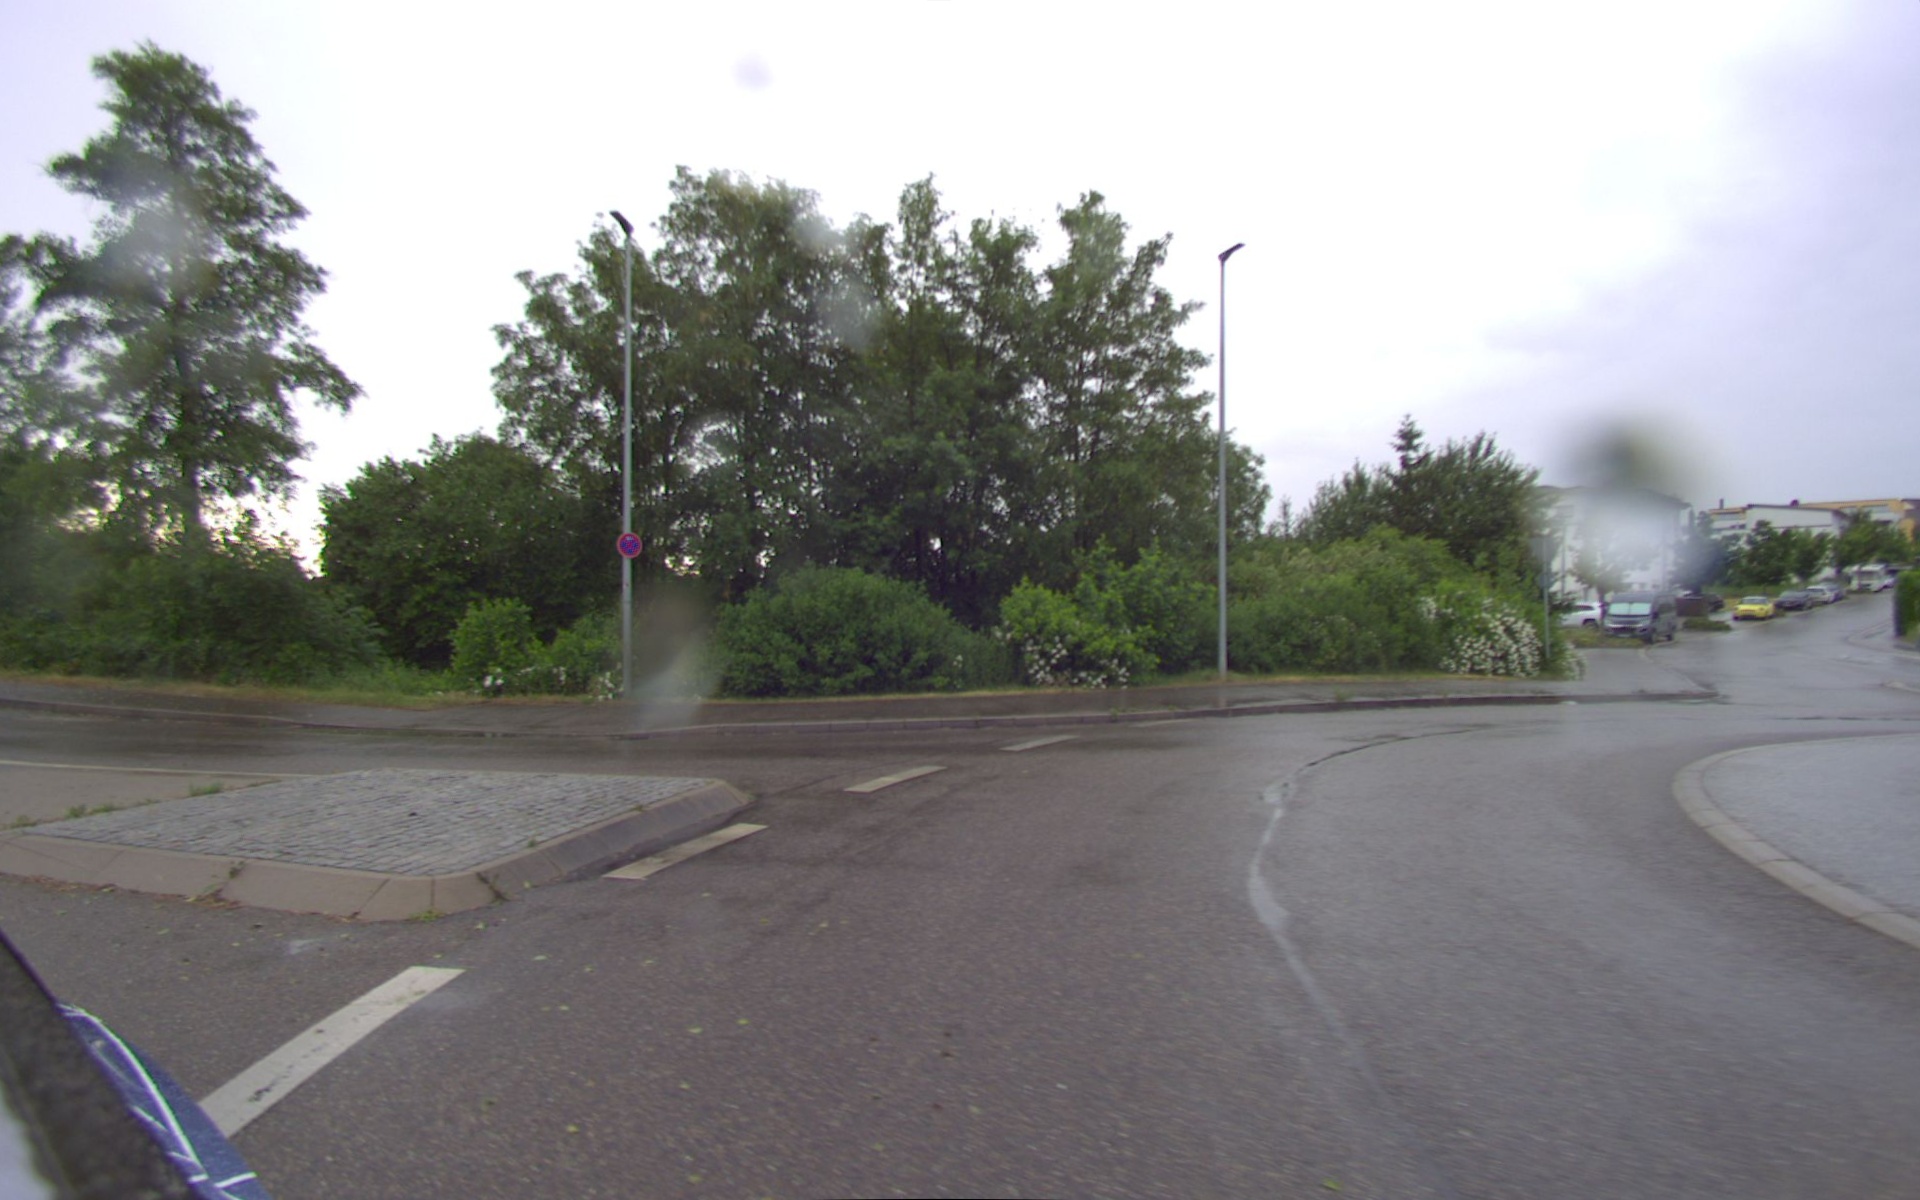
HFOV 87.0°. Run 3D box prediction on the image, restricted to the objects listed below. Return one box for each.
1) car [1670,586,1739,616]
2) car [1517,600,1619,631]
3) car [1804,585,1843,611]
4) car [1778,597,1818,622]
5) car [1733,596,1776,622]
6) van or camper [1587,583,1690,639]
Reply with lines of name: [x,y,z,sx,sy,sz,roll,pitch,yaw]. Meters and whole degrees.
car: [51.493,0.063,69.990,3.714,2.029,1.731,1,-1,41]
car: [35.090,0.892,58.518,1.991,1.761,4.675,0,-1,-43]
car: [70.340,-0.144,82.425,3.939,2.029,2.002,0,0,-43]
car: [62.094,0.673,74.956,3.940,1.747,1.878,0,0,-44]
car: [52.200,0.601,66.508,3.521,1.670,1.688,0,0,-43]
van or camper: [32.947,0.497,49.077,6.110,2.512,2.536,0,0,-40]
